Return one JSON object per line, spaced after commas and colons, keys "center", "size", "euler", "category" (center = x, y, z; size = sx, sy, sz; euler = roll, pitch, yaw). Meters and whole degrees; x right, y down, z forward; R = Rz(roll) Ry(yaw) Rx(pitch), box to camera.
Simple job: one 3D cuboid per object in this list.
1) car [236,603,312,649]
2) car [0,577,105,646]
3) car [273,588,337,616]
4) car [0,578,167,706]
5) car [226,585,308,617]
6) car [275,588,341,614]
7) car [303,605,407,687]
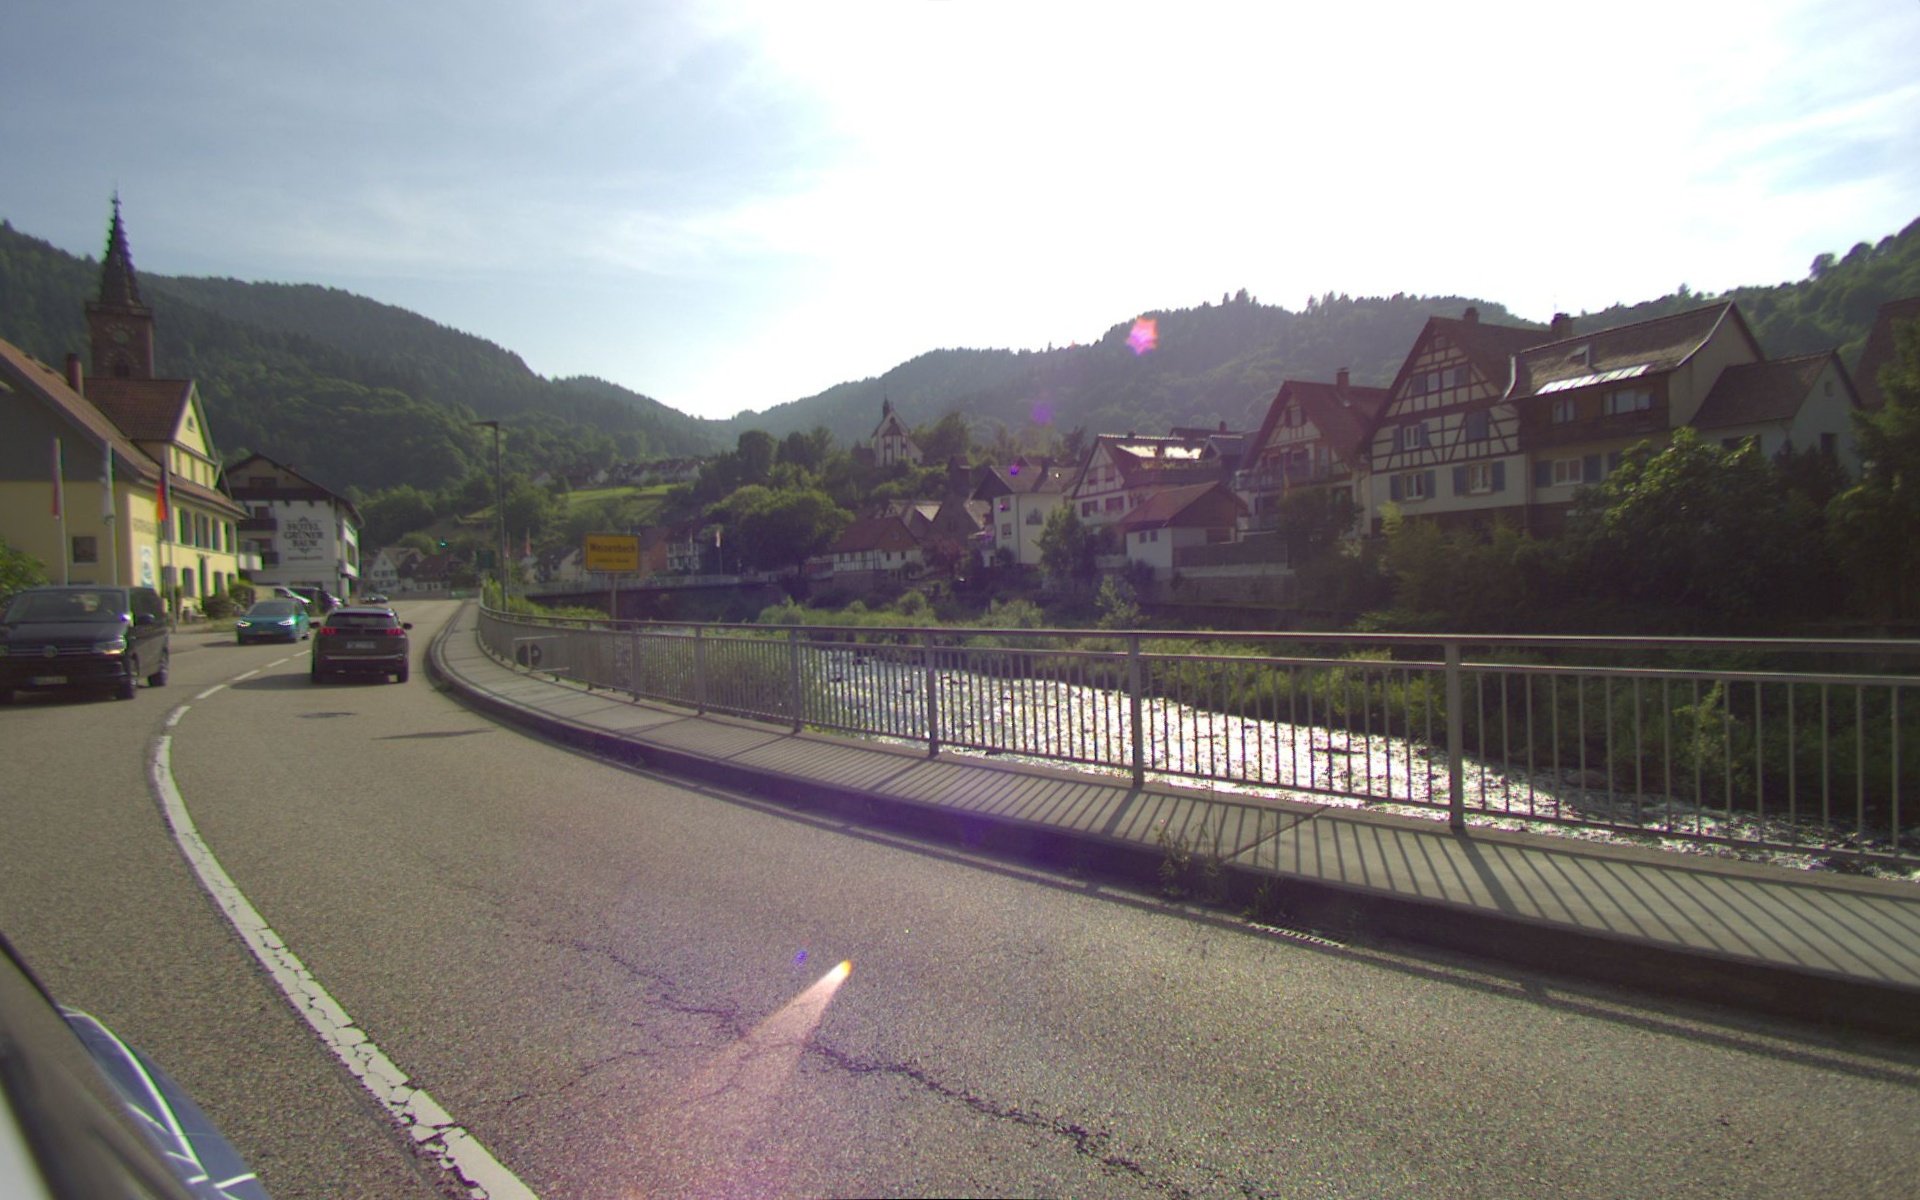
{"center": [-25.035, 0.910, 37.073], "size": [1.655, 1.533, 3.879], "euler": [0, 0, -24], "category": "car"}
{"center": [-29.438, 0.362, 32.416], "size": [1.881, 2.013, 4.851], "euler": [2, -2, -25], "category": "car"}
{"center": [-47.940, 0.142, 74.111], "size": [3.694, 1.907, 1.376], "euler": [2, -1, -23], "category": "car"}
{"center": [-15.590, 0.661, 17.968], "size": [1.857, 1.979, 4.880], "euler": [0, -1, -32], "category": "car"}
{"center": [-48.441, 0.097, 70.861], "size": [4.380, 1.973, 1.719], "euler": [3, -1, -23], "category": "car"}
{"center": [-49.217, 0.078, 76.418], "size": [3.930, 1.896, 1.690], "euler": [1, 0, -23], "category": "car"}
{"center": [-13.542, 0.984, 22.686], "size": [1.790, 1.655, 4.012], "euler": [2, -2, -31], "category": "car"}
